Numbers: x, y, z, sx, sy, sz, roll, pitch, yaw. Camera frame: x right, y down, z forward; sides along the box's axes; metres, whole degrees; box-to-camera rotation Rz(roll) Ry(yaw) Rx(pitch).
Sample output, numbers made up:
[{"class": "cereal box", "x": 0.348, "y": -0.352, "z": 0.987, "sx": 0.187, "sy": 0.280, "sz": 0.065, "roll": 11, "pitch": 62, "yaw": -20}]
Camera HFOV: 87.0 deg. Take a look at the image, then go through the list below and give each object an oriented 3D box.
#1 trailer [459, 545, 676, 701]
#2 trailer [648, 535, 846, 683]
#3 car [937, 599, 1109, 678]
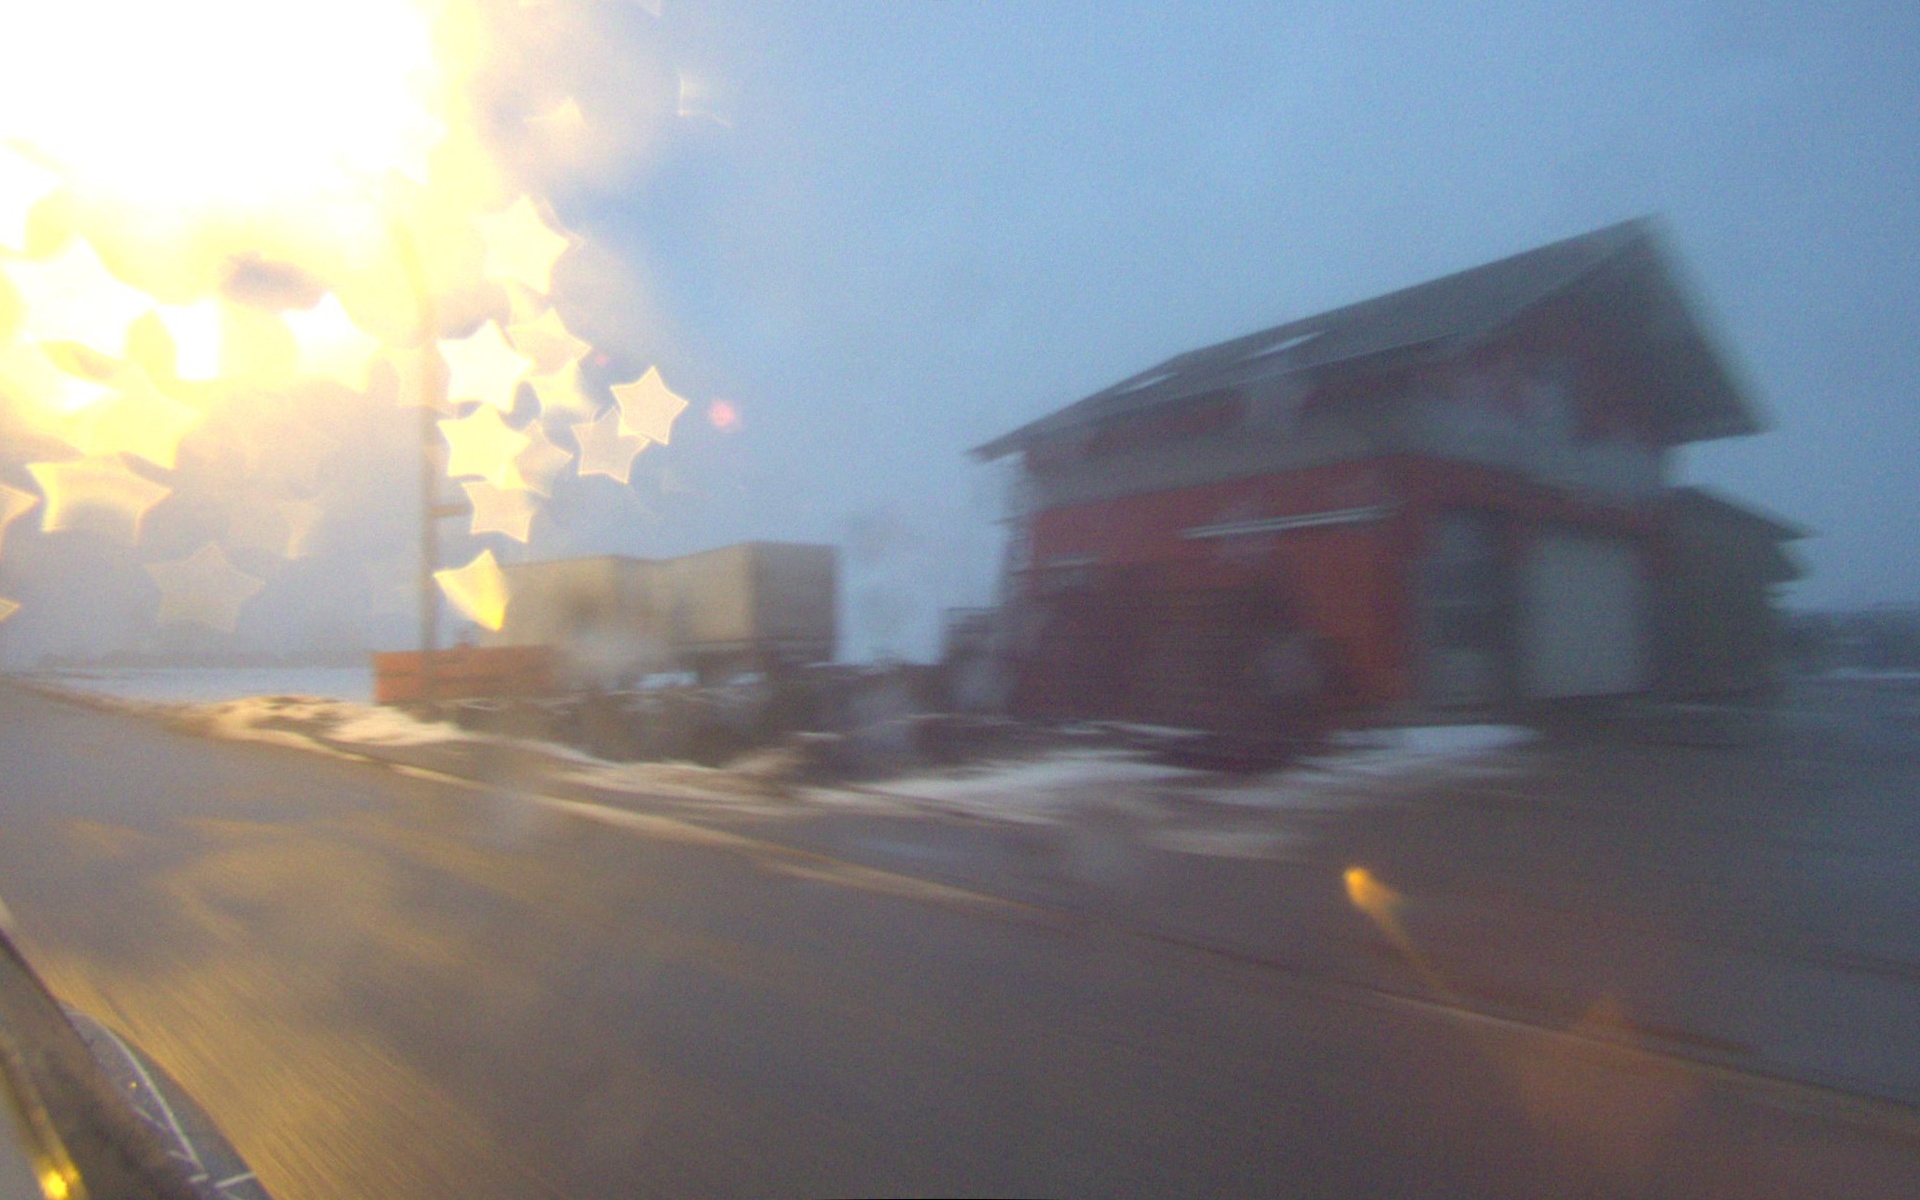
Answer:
[{"class": "trailer", "x": -7.142, "y": 0.464, "z": 18.470, "sx": 3.420, "sy": 2.625, "sz": 1.683, "roll": -1, "pitch": -4, "yaw": 22}, {"class": "trailer", "x": -4.134, "y": 0.277, "z": 19.297, "sx": 1.969, "sy": 2.508, "sz": 4.015, "roll": 4, "pitch": -5, "yaw": -41}, {"class": "car", "x": 1.445, "y": 0.976, "z": 24.407, "sx": 1.968, "sy": 1.730, "sz": 4.007, "roll": 3, "pitch": -5, "yaw": -39}]
